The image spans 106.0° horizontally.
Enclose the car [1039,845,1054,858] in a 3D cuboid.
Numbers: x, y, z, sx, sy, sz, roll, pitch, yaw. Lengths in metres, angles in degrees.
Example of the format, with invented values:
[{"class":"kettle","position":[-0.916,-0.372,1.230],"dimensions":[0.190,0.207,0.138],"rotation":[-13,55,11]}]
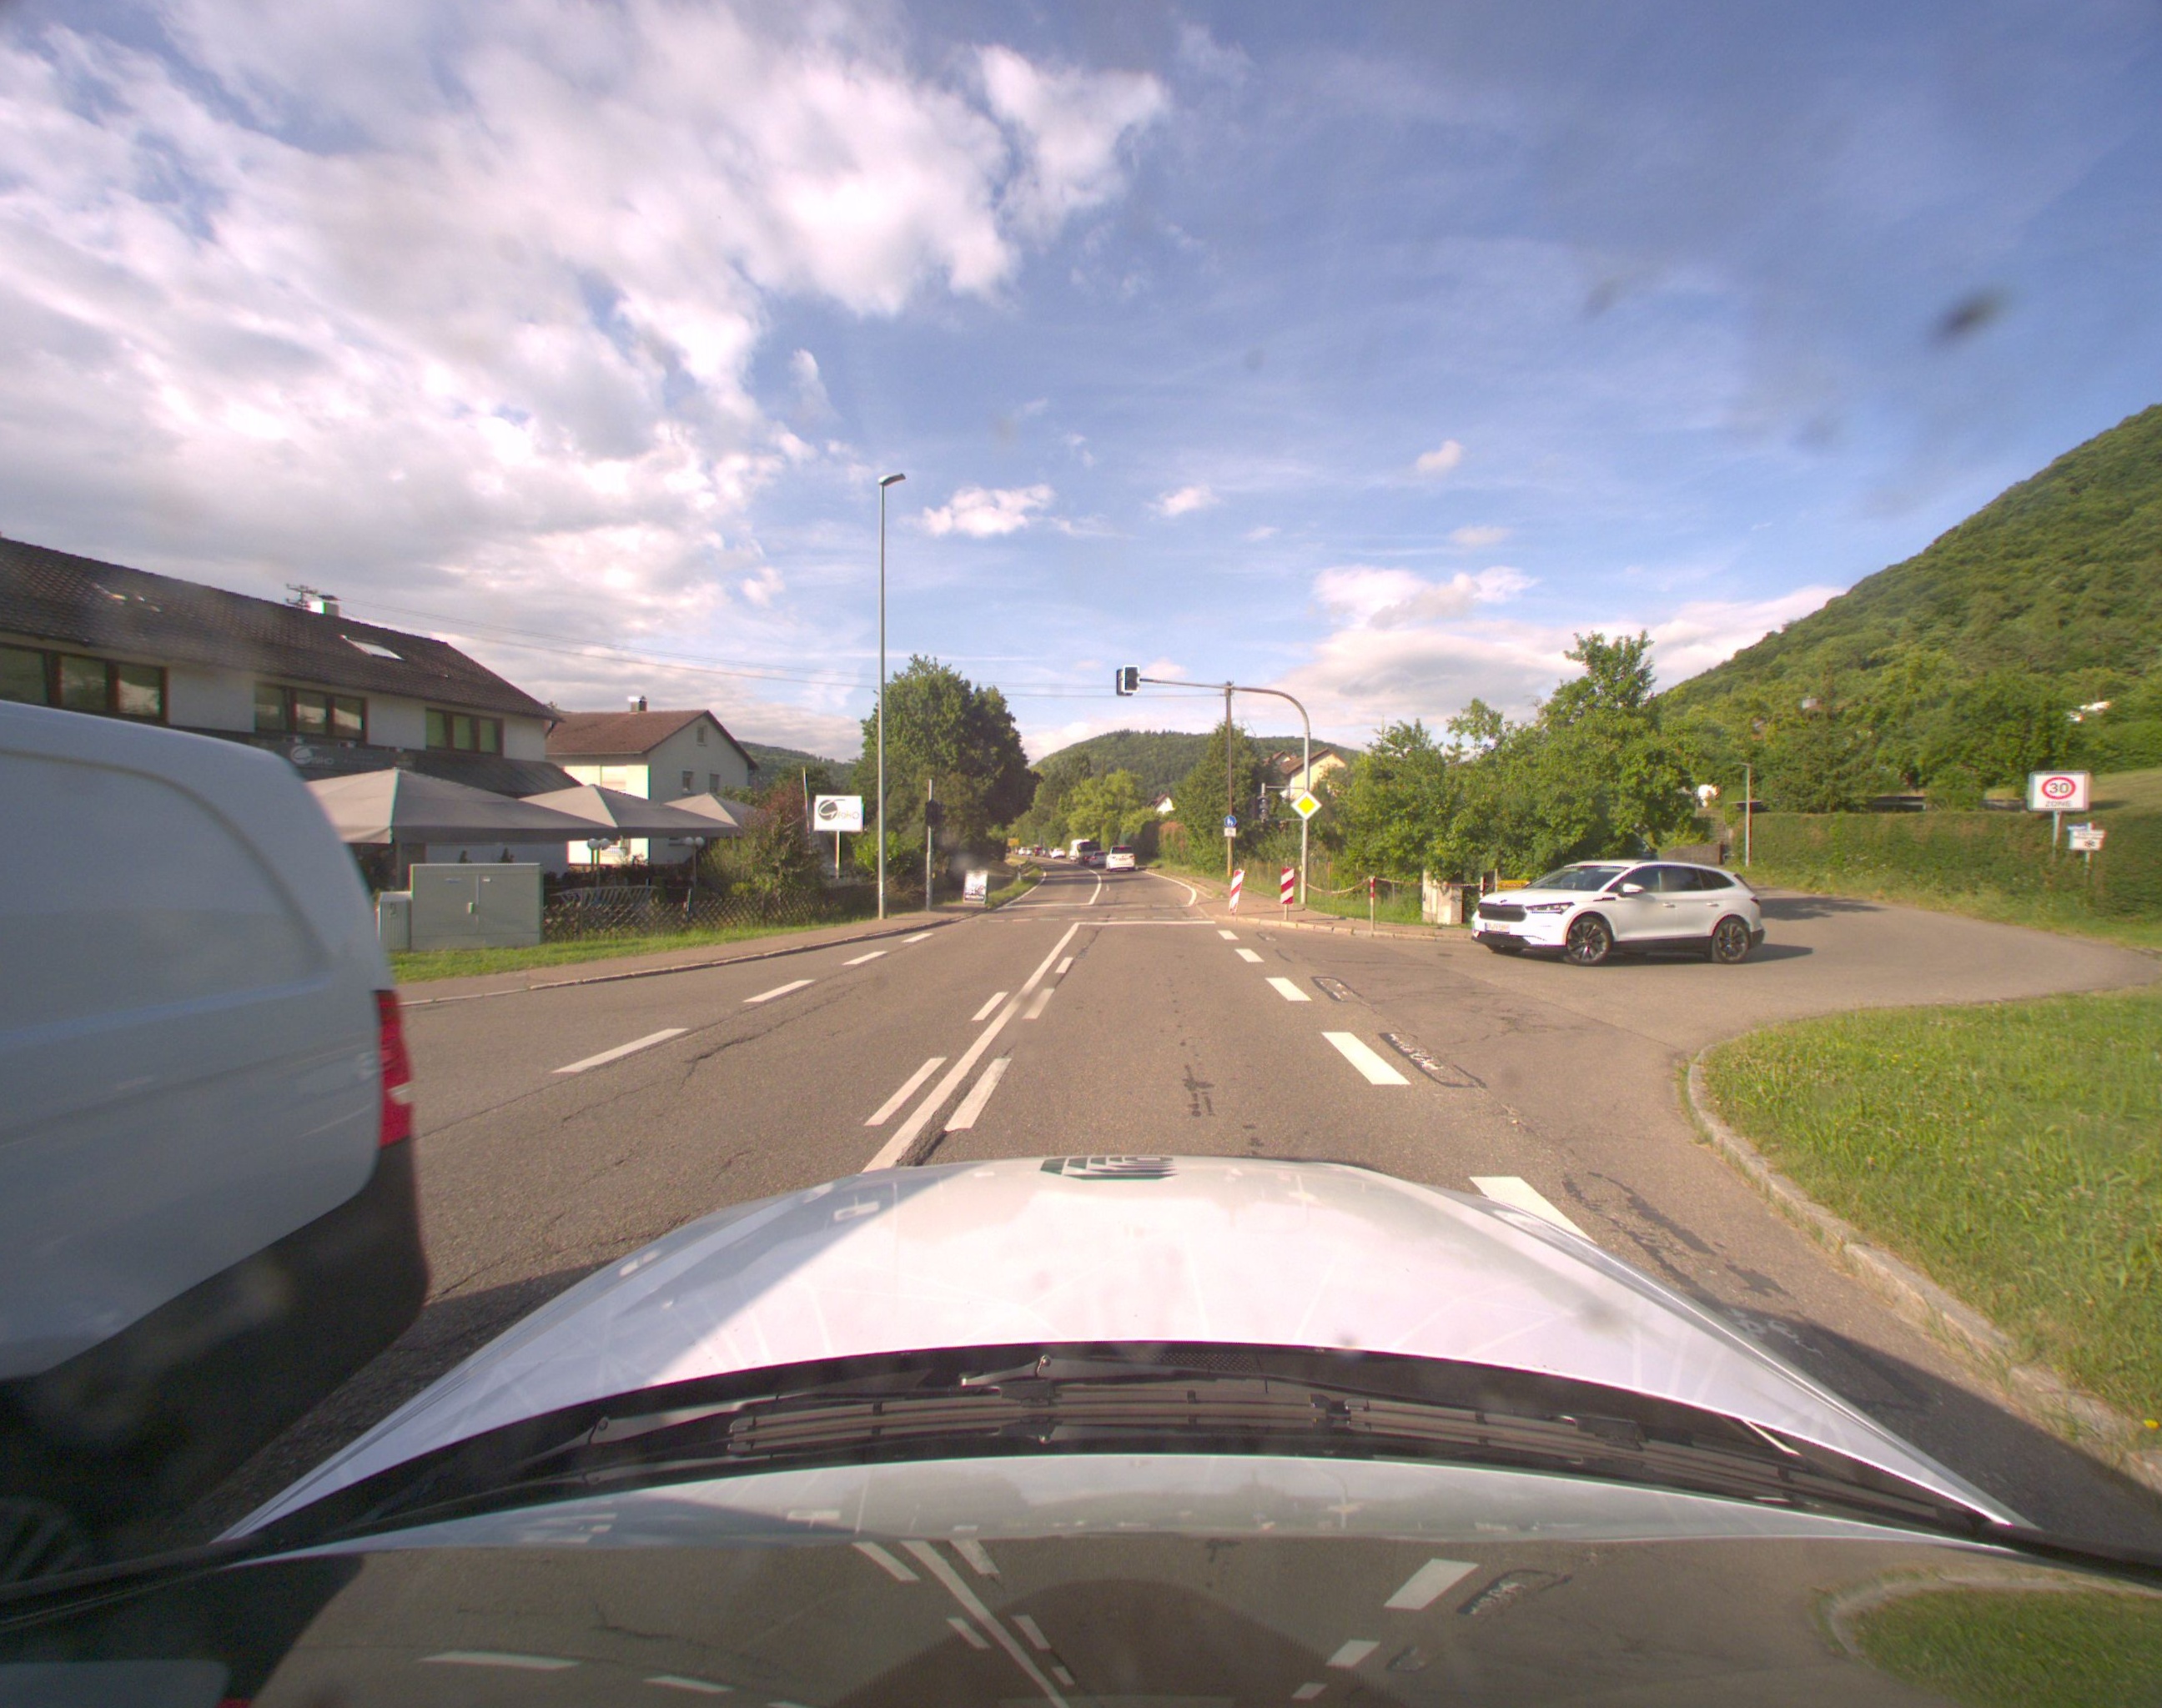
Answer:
[{"class":"car","position":[-5.622,-0.423,131.459],"dimensions":[1.992,2.013,3.989],"rotation":[-1,1,-8]}]

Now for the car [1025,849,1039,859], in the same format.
[{"class":"car","position":[-9.045,0.068,148.694],"dimensions":[1.944,1.684,3.983],"rotation":[-2,0,-12]}]

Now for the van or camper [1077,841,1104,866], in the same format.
[{"class":"van or camper","position":[0.941,-0.101,81.769],"dimensions":[2.176,2.385,5.361],"rotation":[-1,0,-5]}]

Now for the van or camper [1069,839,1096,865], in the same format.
[{"class":"van or camper","position":[0.132,-0.254,96.235],"dimensions":[2.414,2.904,6.114],"rotation":[-1,0,-8]}]

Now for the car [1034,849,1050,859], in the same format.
[{"class":"car","position":[-6.698,-0.025,139.562],"dimensions":[2.042,1.683,3.985],"rotation":[0,1,-11]}]

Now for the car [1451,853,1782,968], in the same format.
[{"class":"car","position":[8.477,0.843,12.982],"dimensions":[4.565,1.610,1.864],"rotation":[1,0,-15]}]

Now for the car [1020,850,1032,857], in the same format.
[{"class":"car","position":[-10.656,-0.084,157.763],"dimensions":[1.942,1.424,3.987],"rotation":[-1,0,-10]}]

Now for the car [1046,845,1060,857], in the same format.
[{"class":"car","position":[-4.322,-0.522,124.857],"dimensions":[1.796,1.793,3.988],"rotation":[-1,1,-9]}]

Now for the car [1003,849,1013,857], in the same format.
[{"class":"car","position":[-16.537,-0.185,184.380],"dimensions":[1.772,1.783,3.986],"rotation":[-2,0,-10]}]

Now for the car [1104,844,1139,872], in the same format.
[{"class":"car","position":[2.929,0.251,60.390],"dimensions":[1.990,1.876,4.864],"rotation":[1,1,-4]}]

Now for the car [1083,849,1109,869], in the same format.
[{"class":"car","position":[1.298,0.444,72.673],"dimensions":[1.990,1.684,3.994],"rotation":[-1,0,-4]}]

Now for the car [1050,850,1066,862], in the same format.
[{"class":"car","position":[-3.344,0.288,117.616],"dimensions":[1.819,1.552,3.987],"rotation":[-1,0,-10]}]

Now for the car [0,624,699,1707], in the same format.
[{"class":"car","position":[-2.620,0.656,0.442],"dimensions":[1.985,1.903,5.259],"rotation":[-2,1,4]}]
